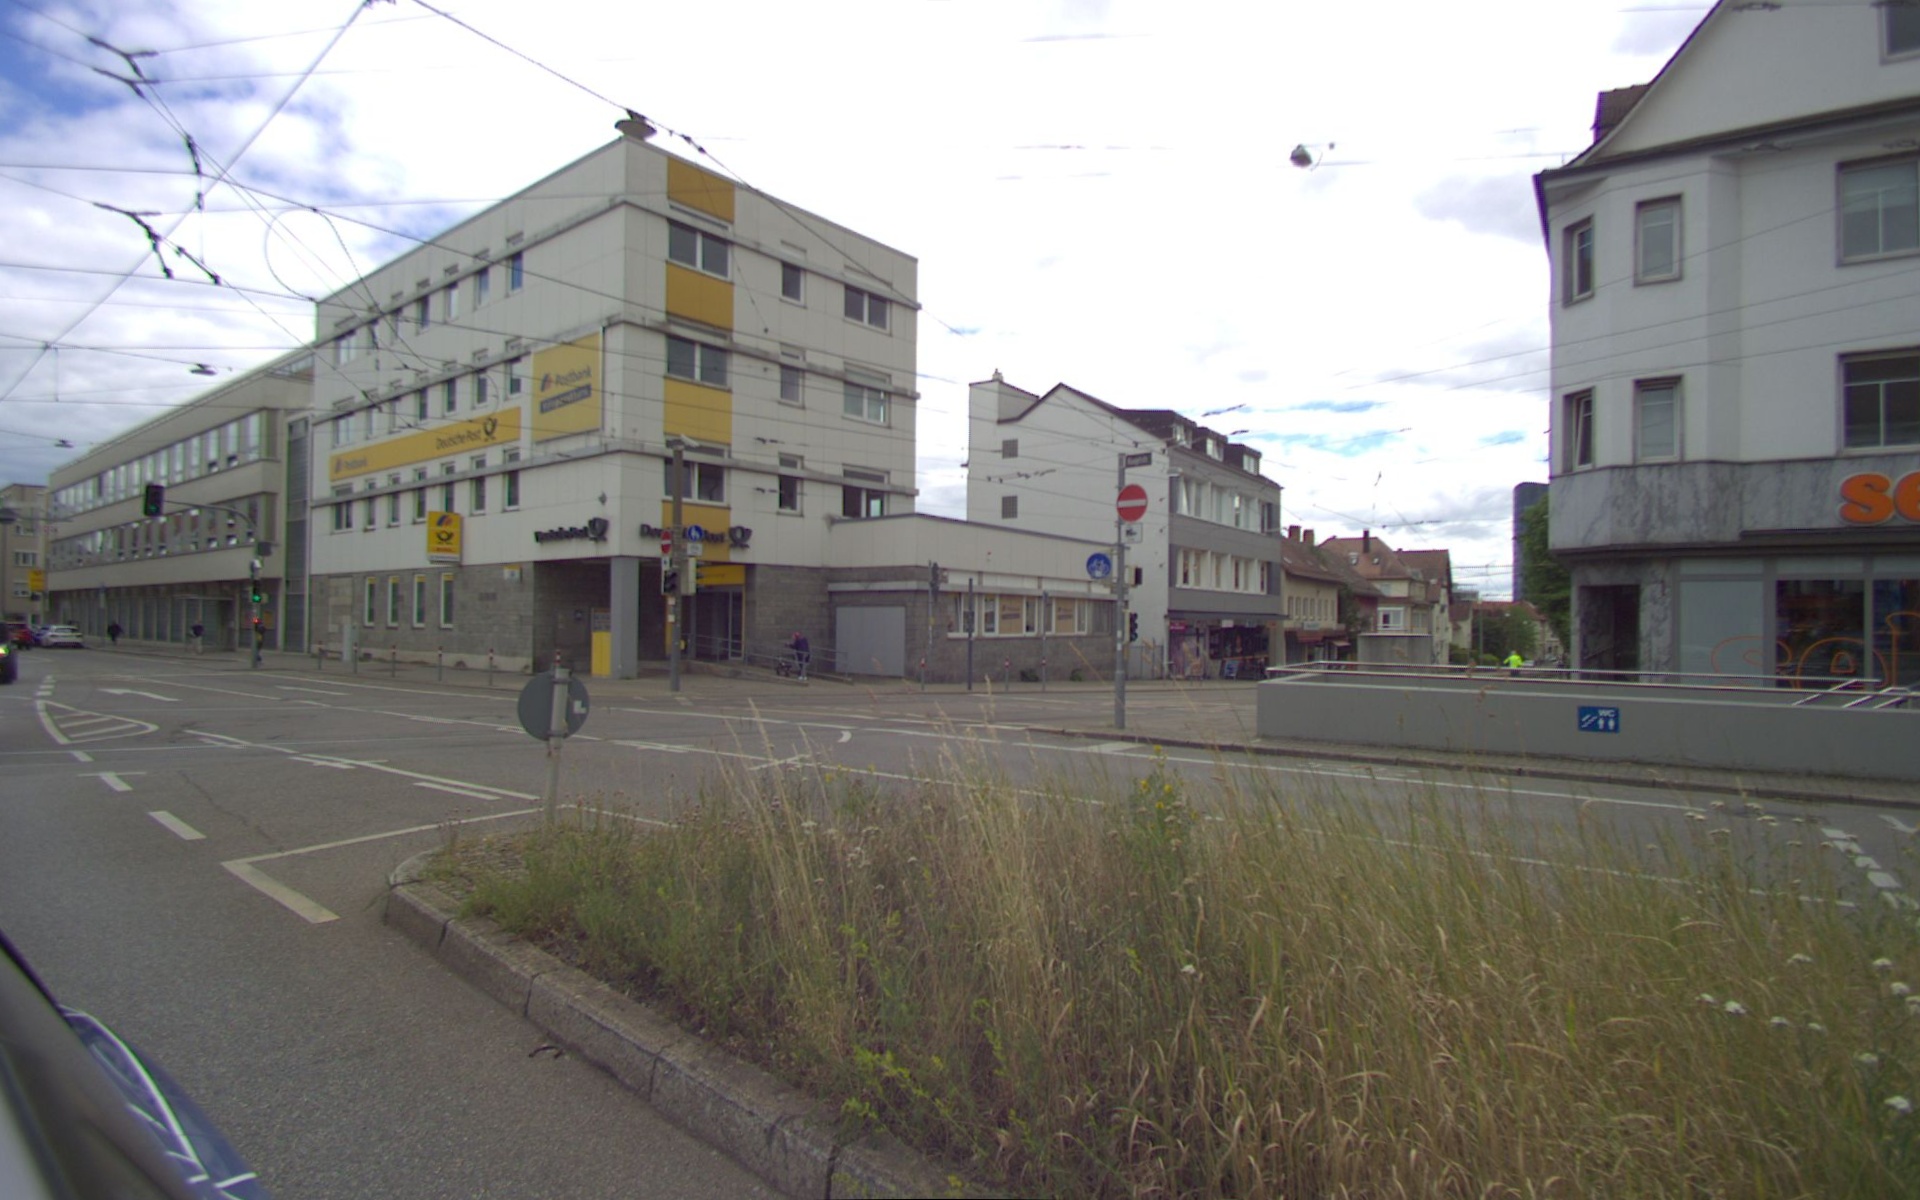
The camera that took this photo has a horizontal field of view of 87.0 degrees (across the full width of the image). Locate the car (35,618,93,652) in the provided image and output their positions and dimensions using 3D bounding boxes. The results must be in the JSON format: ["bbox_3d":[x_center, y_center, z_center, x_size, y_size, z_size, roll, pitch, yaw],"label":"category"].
[{"bbox_3d":[-56.396,2.184,63.683,4.480,2.029,1.975,-1,-1,38],"label":"car"}]

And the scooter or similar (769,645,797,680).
[{"bbox_3d":[-5.166,1.824,29.546,0.616,0.984,0.502,-1,-2,37],"label":"scooter or similar"}]

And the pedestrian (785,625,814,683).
[{"bbox_3d":[-4.618,1.538,29.093,0.614,1.647,0.580,-1,-2,40],"label":"pedestrian"}]

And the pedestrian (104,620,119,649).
[{"bbox_3d":[-55.436,2.261,66.109,0.526,1.816,0.580,-2,1,40],"label":"pedestrian"}]

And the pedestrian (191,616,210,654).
[{"bbox_3d":[-37.201,1.713,49.591,0.526,1.816,0.580,-2,1,40],"label":"pedestrian"}]

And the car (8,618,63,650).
[{"bbox_3d":[-61.456,2.264,67.261,4.480,2.029,1.975,-1,-1,38],"label":"car"}]

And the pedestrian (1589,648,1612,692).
[{"bbox_3d":[24.920,2.727,39.384,0.610,1.646,0.584,-2,1,19],"label":"pedestrian"}]

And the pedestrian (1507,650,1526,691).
[{"bbox_3d":[22.936,2.900,41.707,0.586,1.646,0.608,-2,1,34],"label":"pedestrian"}]

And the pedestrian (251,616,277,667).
[{"bbox_3d":[-25.259,1.491,36.738,0.526,1.816,0.580,-2,1,40],"label":"pedestrian"}]

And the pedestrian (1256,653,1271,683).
[{"bbox_3d":[16.867,3.771,56.228,0.613,1.646,0.687,-2,1,34],"label":"pedestrian"}]
